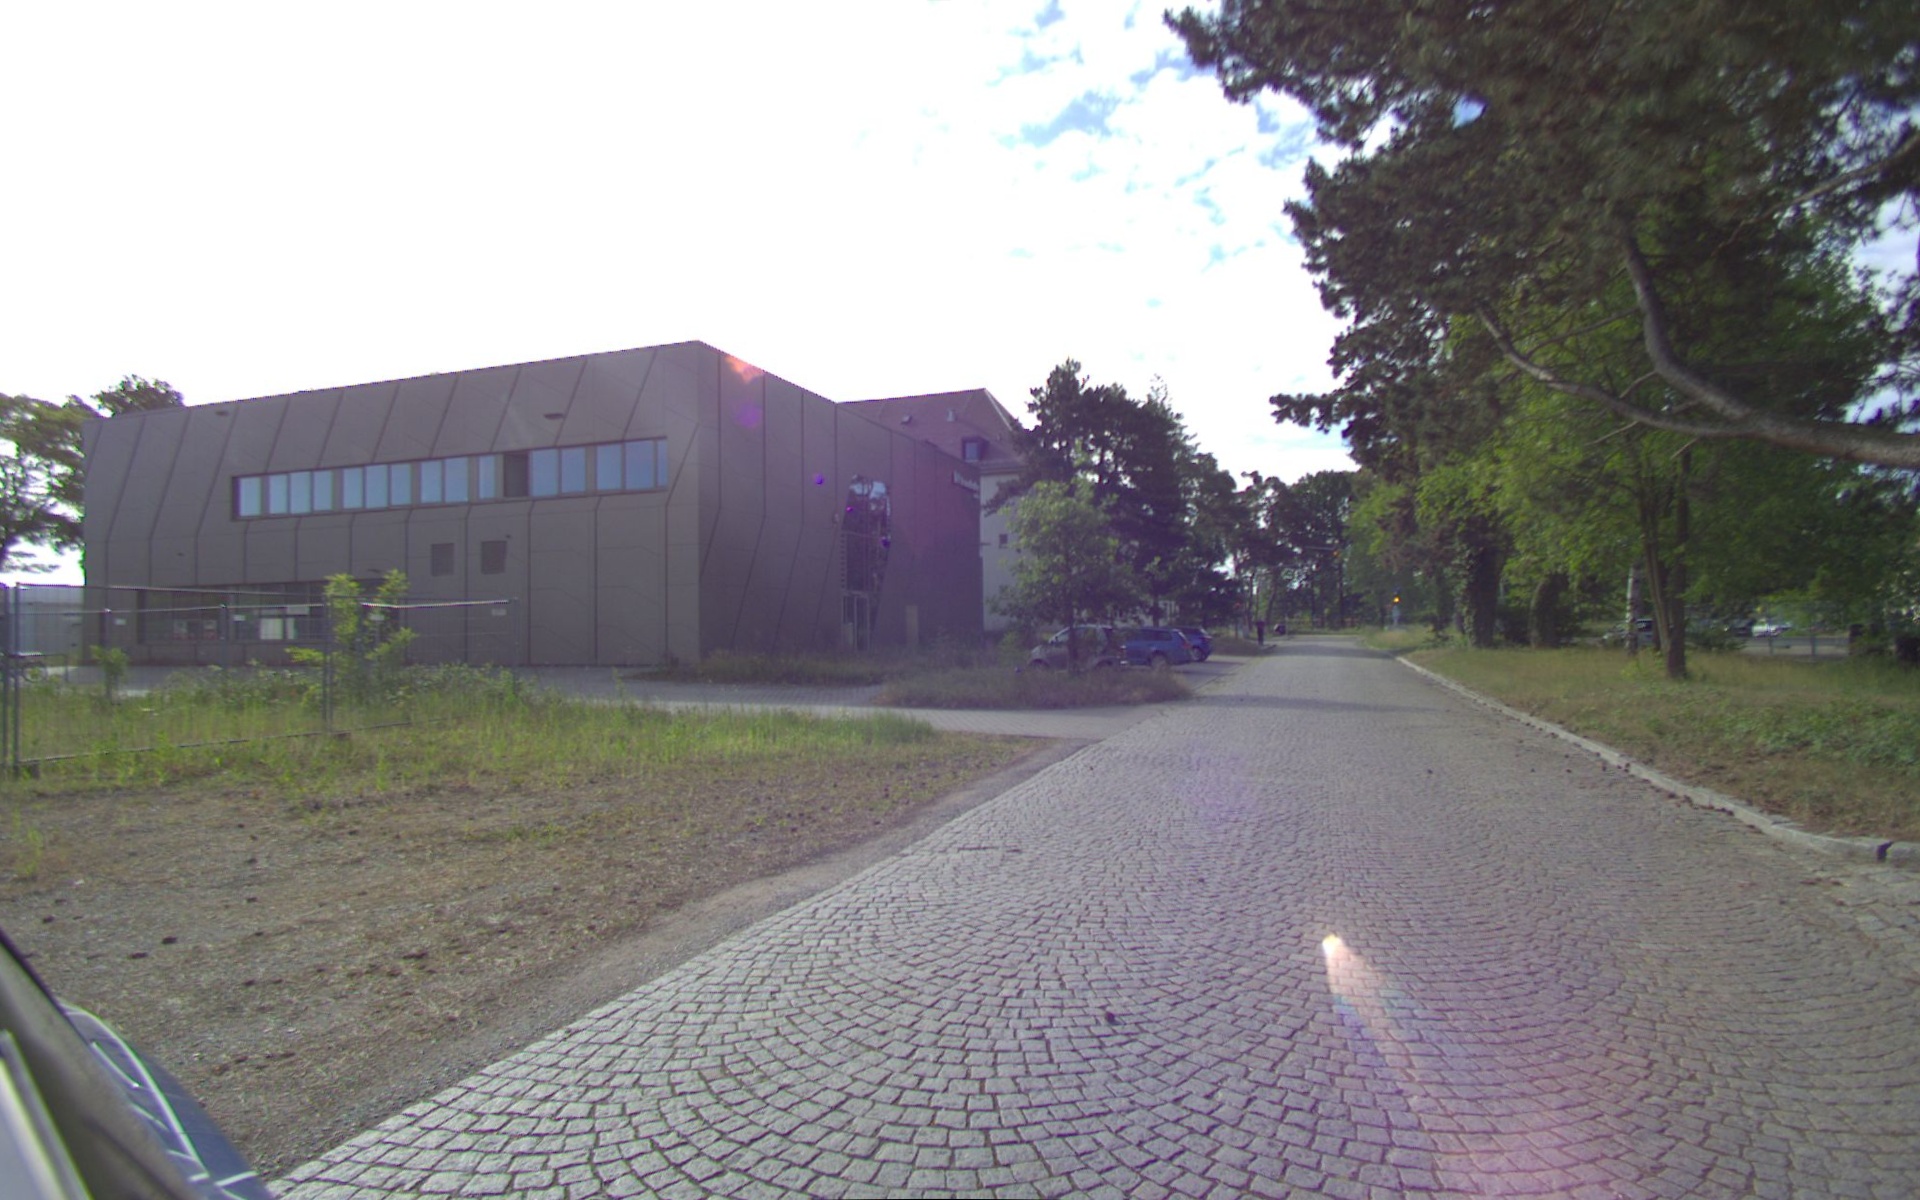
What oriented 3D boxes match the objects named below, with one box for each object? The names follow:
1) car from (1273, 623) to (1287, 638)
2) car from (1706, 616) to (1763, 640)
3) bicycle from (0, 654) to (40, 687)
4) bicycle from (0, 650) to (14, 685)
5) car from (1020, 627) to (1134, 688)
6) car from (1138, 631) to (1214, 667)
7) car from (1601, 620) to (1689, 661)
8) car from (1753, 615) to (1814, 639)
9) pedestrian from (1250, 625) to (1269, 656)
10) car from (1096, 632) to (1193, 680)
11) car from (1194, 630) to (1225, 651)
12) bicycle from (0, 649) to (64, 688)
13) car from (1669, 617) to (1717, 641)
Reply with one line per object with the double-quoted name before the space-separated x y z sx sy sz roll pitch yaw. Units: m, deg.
"car" 44.836 4.241 141.927 1.690 2.029 3.973 -1 -2 20
"car" 54.350 1.979 71.105 1.985 1.630 3.973 -2 -2 20
"bicycle" -28.722 2.100 29.937 0.938 0.928 2.057 -1 -2 18
"bicycle" -29.712 2.052 30.138 0.938 1.052 2.057 -1 -2 18
"car" 3.145 1.533 27.217 2.753 1.561 1.413 -2 -2 25
"car" 9.101 2.072 42.609 3.064 1.461 1.485 -1 -2 15
"car" 27.617 1.616 40.963 1.877 1.553 3.976 -1 -2 18
"car" 57.178 1.879 70.343 1.985 1.630 3.973 -2 -2 20
"pedestrian" 18.573 2.502 62.744 0.947 1.858 0.954 -1 -2 6
"car" 6.171 1.831 33.840 3.066 1.468 1.484 1 -1 16
"car" 19.778 3.193 80.104 1.985 1.630 3.973 -2 -2 20
"bicycle" -27.576 1.990 29.455 0.938 1.095 2.057 -1 -2 18
"car" 51.901 2.052 71.741 1.814 1.630 3.970 -2 -2 22
